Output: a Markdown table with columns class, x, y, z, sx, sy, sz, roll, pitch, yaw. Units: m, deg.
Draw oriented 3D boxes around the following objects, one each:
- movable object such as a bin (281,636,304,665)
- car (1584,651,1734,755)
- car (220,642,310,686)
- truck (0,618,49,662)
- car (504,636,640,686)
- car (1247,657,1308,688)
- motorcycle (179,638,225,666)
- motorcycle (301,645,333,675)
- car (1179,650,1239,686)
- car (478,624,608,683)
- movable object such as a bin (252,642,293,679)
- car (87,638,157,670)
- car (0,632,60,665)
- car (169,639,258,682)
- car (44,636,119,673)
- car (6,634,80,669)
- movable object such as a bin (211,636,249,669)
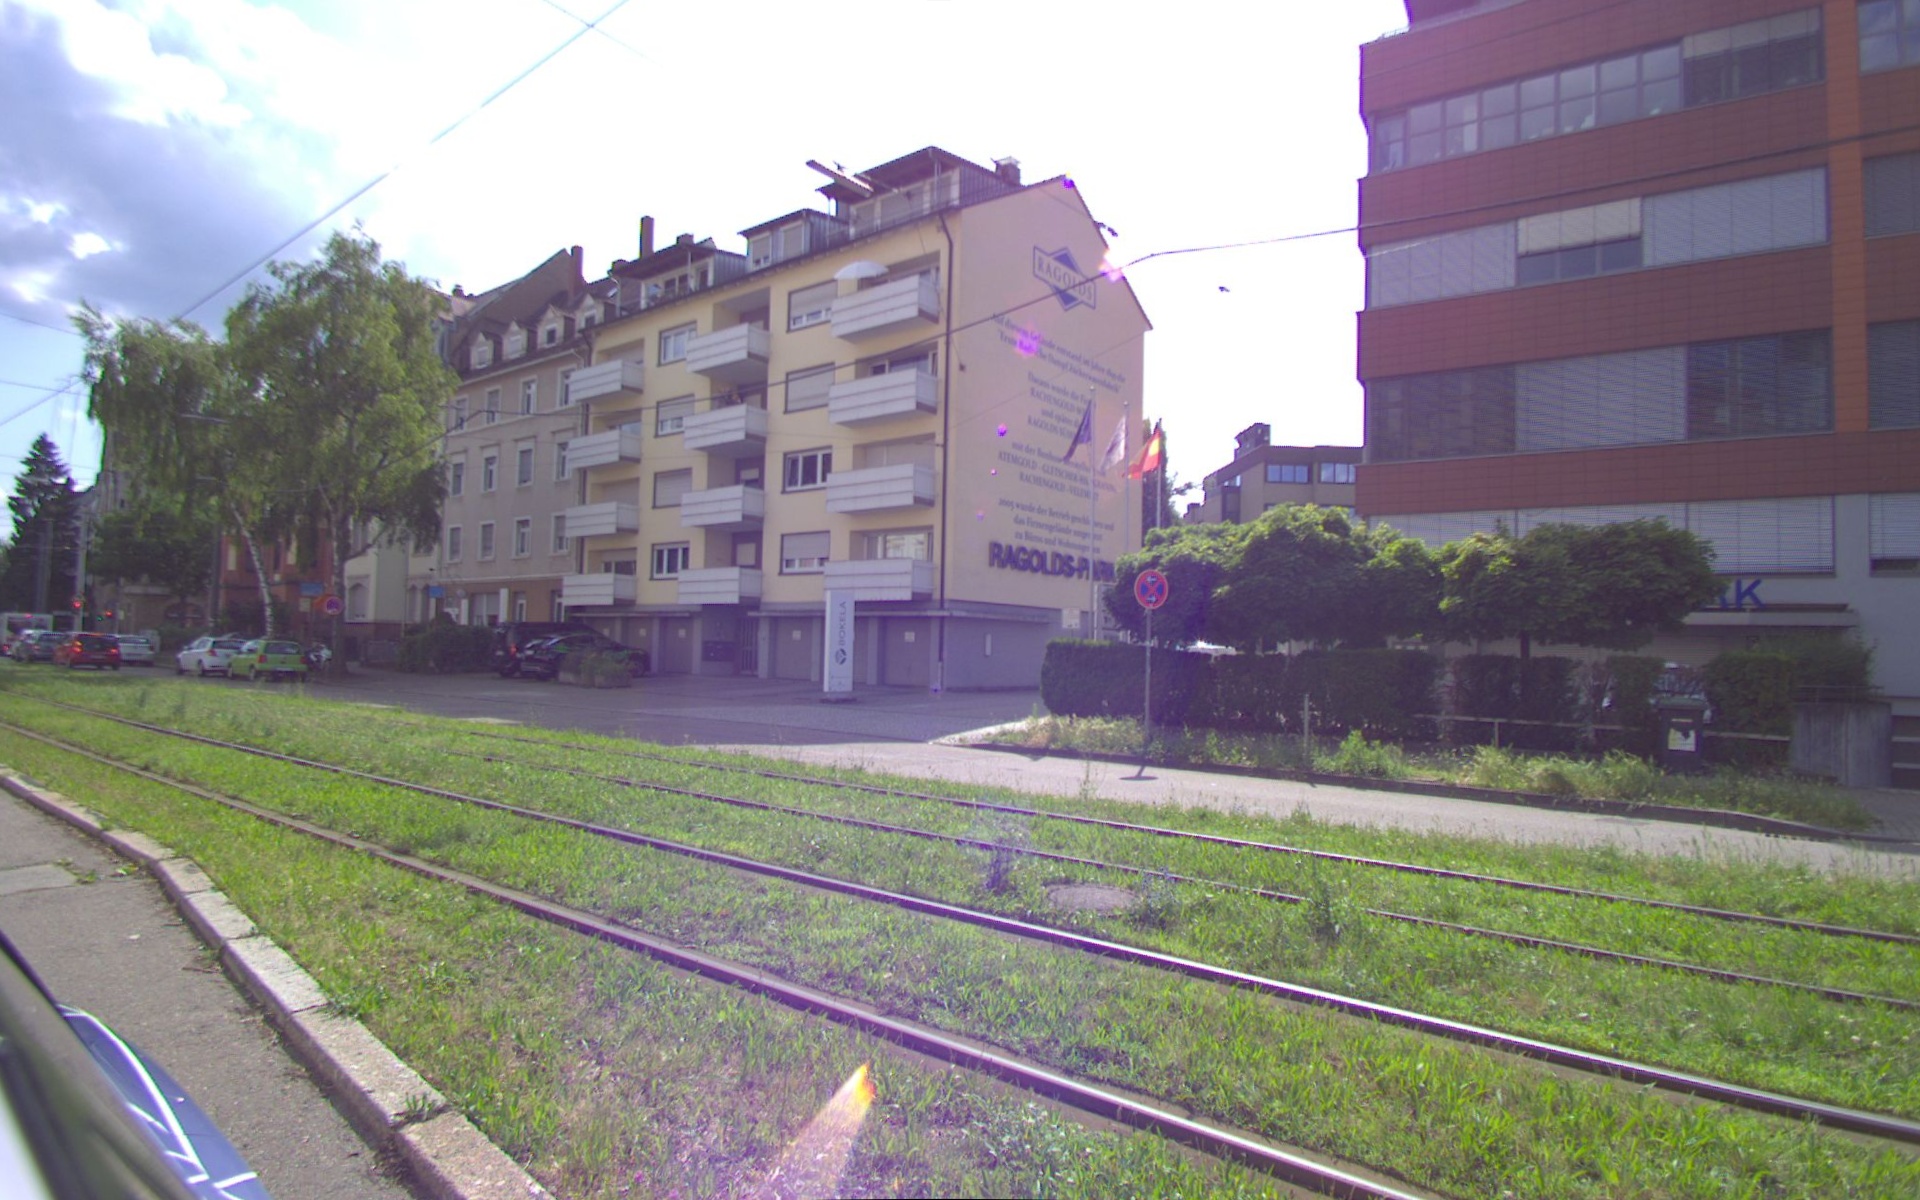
| class | x | y | z | sx | sy | sz | roll | pitch | yaw |
| --- | --- | --- | --- | --- | --- | --- | --- | --- | --- |
| movable object such as a bin | -32.203 | 2.433 | 48.830 | 0.698 | 1.372 | 0.667 | -1 | -4 | 35 |
| car | 12.479 | 1.755 | 18.117 | 1.996 | 1.608 | 3.952 | -1 | -4 | 35 |
| car | -24.242 | 2.219 | 35.259 | 3.611 | 1.443 | 1.578 | -1 | -5 | 39 |
| truck | -52.039 | 2.205 | 55.677 | 6.612 | 2.231 | 2.161 | -2 | -5 | 43 |
| car | -13.378 | 2.051 | 35.024 | 1.970 | 1.614 | 3.948 | -1 | -2 | 38 |
| car | 18.149 | 4.123 | 57.997 | 1.743 | 1.708 | 4.007 | 2 | -3 | -9 |
| motorcycle | -35.046 | 2.383 | 46.794 | 2.287 | 1.252 | 0.893 | -1 | -4 | 33 |
| motorcycle | -24.269 | 2.241 | 38.201 | 1.630 | 1.050 | 0.494 | 0 | 0 | 38 |
| car | 13.536 | 3.697 | 55.164 | 1.743 | 1.827 | 4.007 | 2 | -3 | -9 |
| car | -15.195 | 1.918 | 36.998 | 1.936 | 2.029 | 3.945 | -2 | -2 | 41 |
| movable object such as a bin | -27.804 | 2.439 | 40.942 | 1.519 | 1.441 | 0.942 | -1 | -2 | 38 |
| car | -38.730 | 2.487 | 46.741 | 3.992 | 1.366 | 1.737 | -1 | -5 | 40 |
| car | -45.212 | 2.356 | 49.155 | 4.133 | 1.425 | 1.736 | -1 | -6 | 43 |
| car | -28.320 | 2.278 | 38.362 | 4.221 | 1.489 | 1.628 | -1 | -6 | 39 |
| car | -34.886 | 2.150 | 40.182 | 3.689 | 1.397 | 1.563 | -1 | -5 | 39 |
| car | -40.347 | 2.243 | 44.520 | 4.509 | 1.366 | 1.737 | -1 | -6 | 40 |
| movable object such as a bin | -32.669 | 2.349 | 45.275 | 1.519 | 1.377 | 0.942 | -1 | 1 | 38 |
